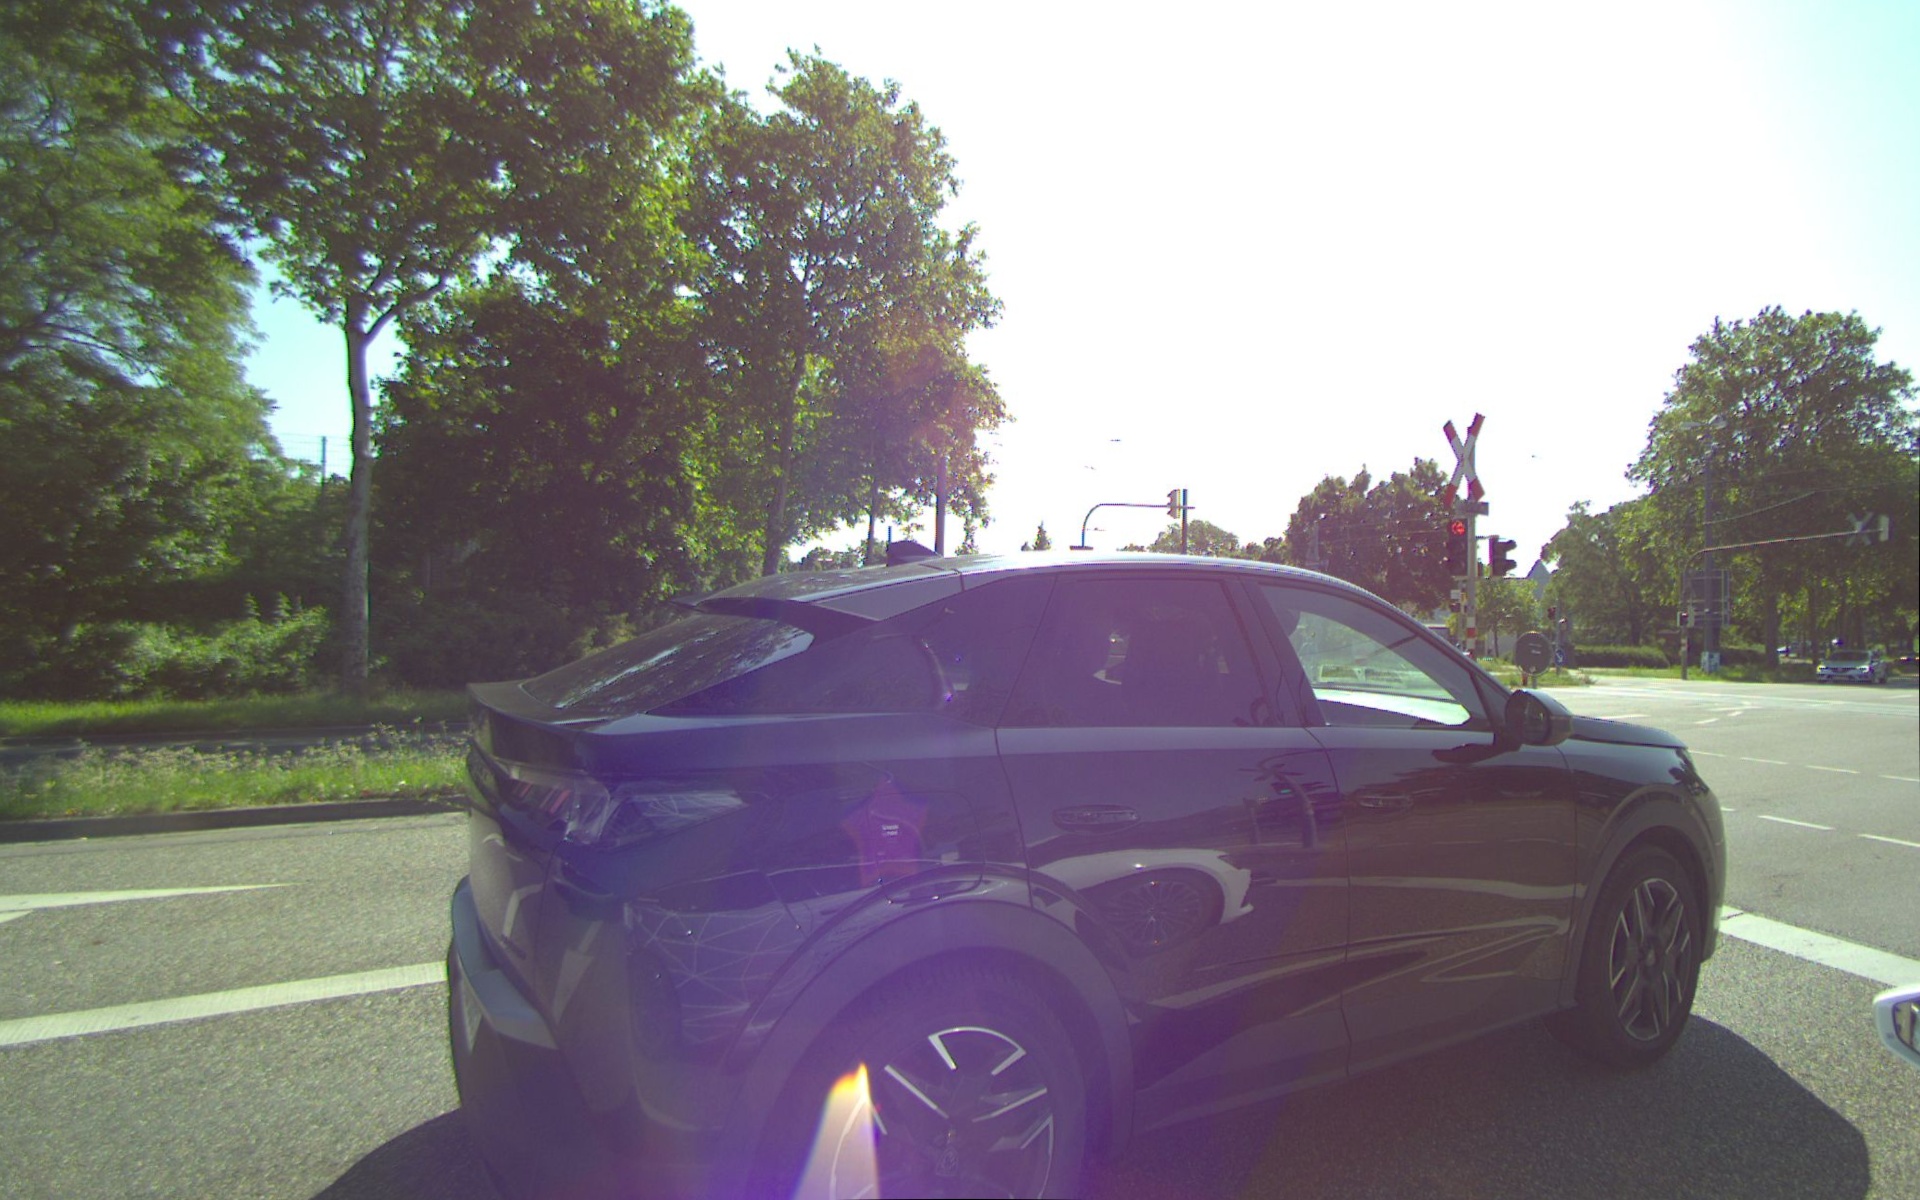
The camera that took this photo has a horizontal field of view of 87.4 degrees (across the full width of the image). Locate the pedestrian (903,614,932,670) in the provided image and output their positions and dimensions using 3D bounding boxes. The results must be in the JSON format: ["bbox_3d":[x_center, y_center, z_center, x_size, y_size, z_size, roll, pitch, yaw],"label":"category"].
[{"bbox_3d":[-1.193,1.194,28.398,0.563,1.554,0.601,2,-2,-36],"label":"pedestrian"}]

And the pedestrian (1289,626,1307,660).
[{"bbox_3d":[20.653,2.609,61.423,0.706,2.040,0.787,2,-2,-40],"label":"pedestrian"}]

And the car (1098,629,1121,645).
[{"bbox_3d":[13.940,3.413,93.577,1.421,1.465,3.340,1,-2,-4],"label":"car"}]

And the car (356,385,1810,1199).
[{"bbox_3d":[0.643,0.631,3.242,4.384,1.719,1.863,2,-1,-30],"label":"car"}]

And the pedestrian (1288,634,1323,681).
[{"bbox_3d":[11.289,1.880,32.807,0.855,1.520,0.697,1,-2,-17],"label":"pedestrian"}]

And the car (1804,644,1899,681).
[{"bbox_3d":[38.390,2.670,43.226,4.606,1.528,1.686,2,-2,-30],"label":"car"}]

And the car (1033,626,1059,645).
[{"bbox_3d":[7.956,3.279,93.075,1.780,1.725,3.985,1,-2,-4],"label":"car"}]

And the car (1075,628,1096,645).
[{"bbox_3d":[11.633,3.367,93.287,1.323,1.465,3.340,1,-2,-4],"label":"car"}]
